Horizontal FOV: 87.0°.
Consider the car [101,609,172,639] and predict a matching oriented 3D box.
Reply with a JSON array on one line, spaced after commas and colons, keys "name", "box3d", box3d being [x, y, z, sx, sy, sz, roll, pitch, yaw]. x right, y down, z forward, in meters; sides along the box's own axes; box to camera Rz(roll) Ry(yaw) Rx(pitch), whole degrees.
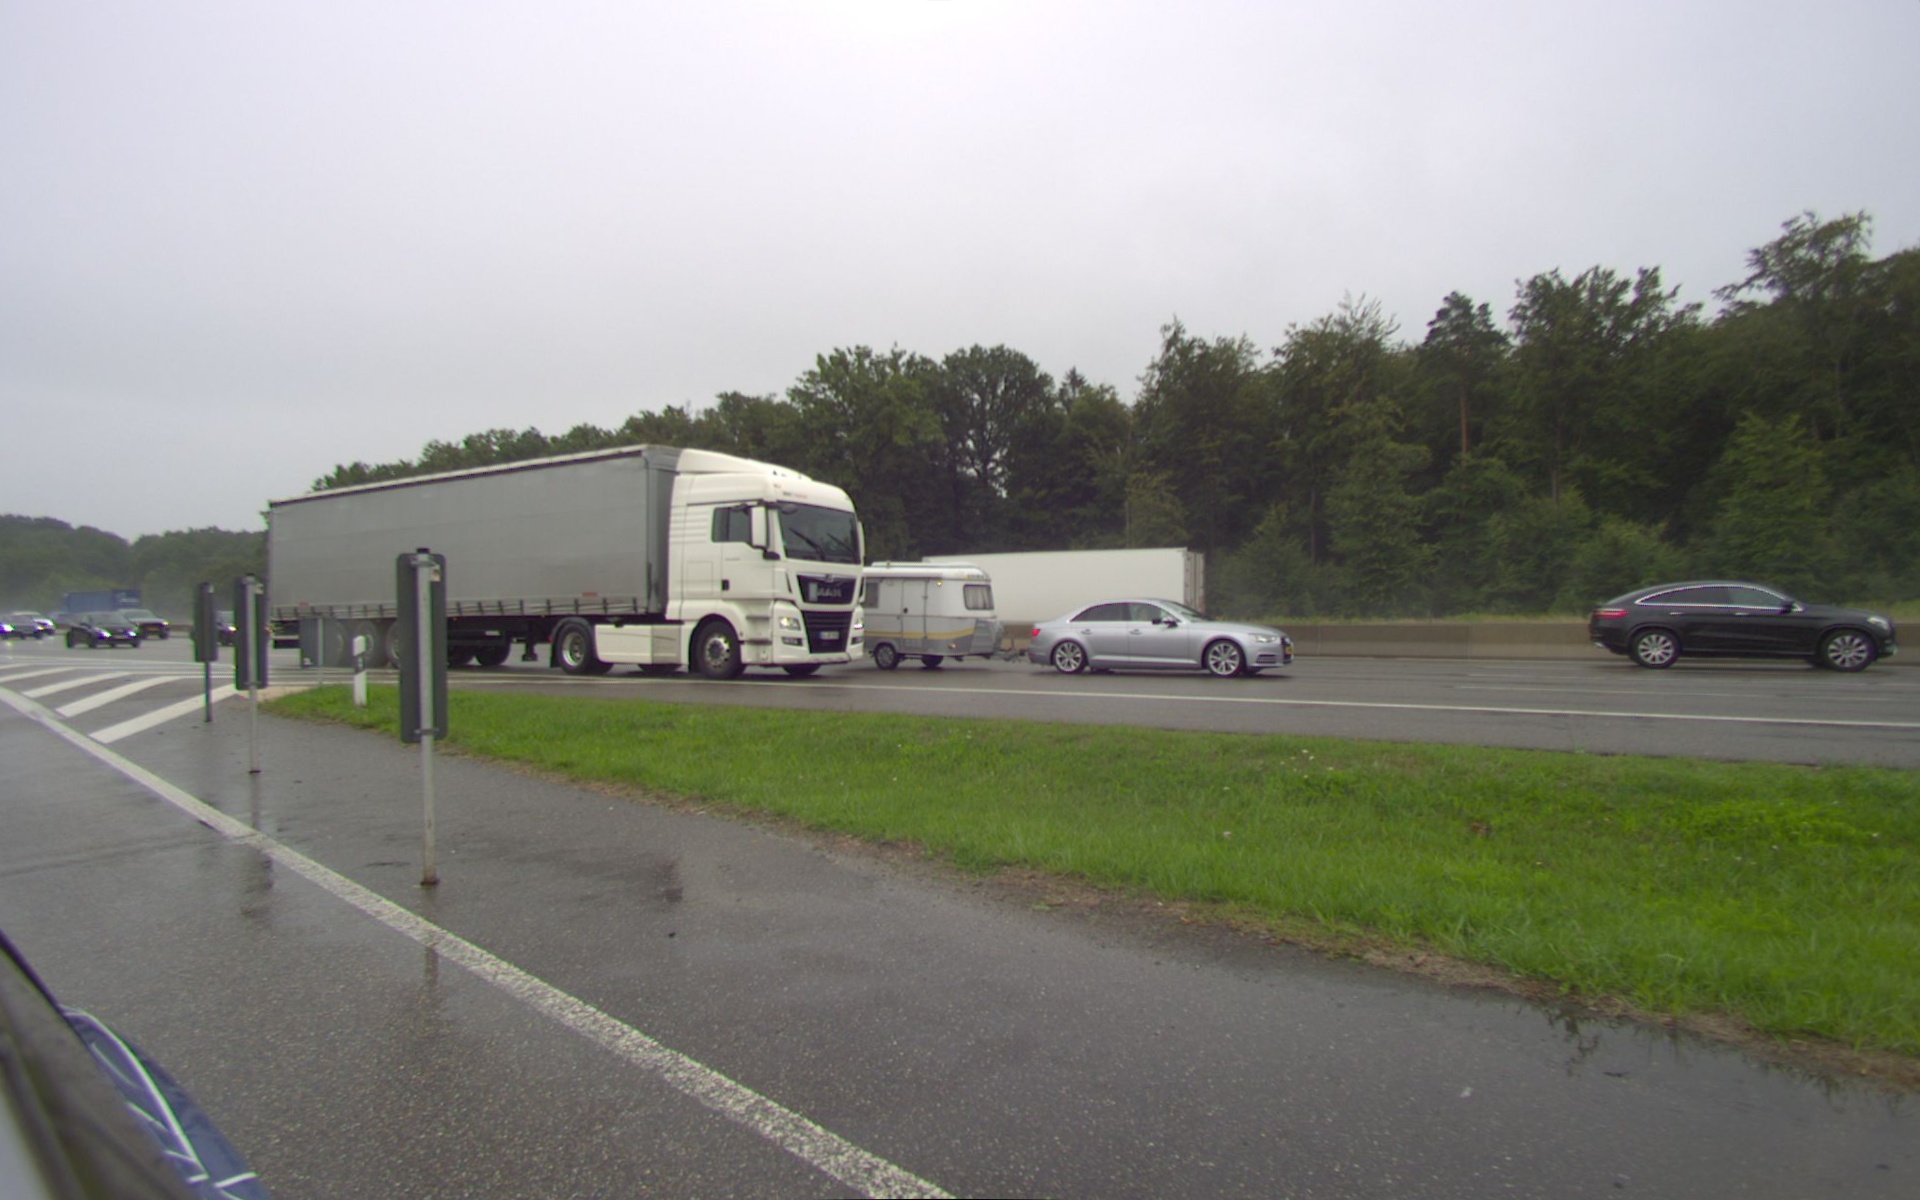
[{"name": "car", "box3d": [-48.081, 1.445, 59.073, 4.389, 1.681, 1.805, -1, -2, 31]}]

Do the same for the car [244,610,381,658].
[{"name": "car", "box3d": [-21.237, 1.093, 33.181, 4.482, 1.492, 1.868, -1, -1, 29]}]

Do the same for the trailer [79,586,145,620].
[{"name": "trailer", "box3d": [-92.944, 0.360, 110.826, 11.372, 3.443, 2.709, -1, 0, 35]}]

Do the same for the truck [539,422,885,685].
[{"name": "truck", "box3d": [-4.589, -0.636, 18.477, 5.914, 4.083, 2.850, -1, -2, 32]}]

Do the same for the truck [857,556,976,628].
[{"name": "truck", "box3d": [-2.246, -0.349, 51.646, 5.581, 3.478, 2.627, -1, -1, 31]}]

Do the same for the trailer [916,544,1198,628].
[{"name": "trailer", "box3d": [4.240, -0.478, 47.620, 13.438, 3.524, 2.629, -1, -1, 32]}]

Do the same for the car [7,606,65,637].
[{"name": "car", "box3d": [-63.957, 1.480, 70.049, 3.986, 2.029, 1.979, -2, -1, 31]}]

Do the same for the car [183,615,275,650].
[{"name": "car", "box3d": [-32.024, 1.439, 44.315, 4.109, 1.425, 1.805, -2, -2, 31]}]

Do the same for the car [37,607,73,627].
[{"name": "car", "box3d": [-94.575, 1.803, 105.743, 3.990, 2.029, 1.977, -1, -1, 34]}]

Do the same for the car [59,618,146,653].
[{"name": "car", "box3d": [-35.745, 1.456, 42.183, 3.990, 1.383, 1.803, -2, -2, 35]}]

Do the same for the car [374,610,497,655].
[{"name": "car", "box3d": [-18.681, 1.129, 35.976, 4.487, 1.492, 1.866, -1, -1, 32]}]

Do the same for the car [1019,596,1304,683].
[{"name": "car", "box3d": [3.484, 0.683, 17.781, 4.564, 1.358, 1.832, -1, -2, 31]}]

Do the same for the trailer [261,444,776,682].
[{"name": "trailer", "box3d": [-10.252, -0.458, 22.034, 14.071, 4.013, 2.873, -1, -2, 32]}]

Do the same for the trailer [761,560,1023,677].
[{"name": "trailer", "box3d": [-1.466, 0.420, 21.041, 5.160, 2.172, 2.114, -1, -2, 31]}]

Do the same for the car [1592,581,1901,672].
[{"name": "car", "box3d": [14.937, 0.522, 19.607, 4.509, 1.587, 1.692, -1, -2, 31]}]

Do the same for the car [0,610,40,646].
[{"name": "car", "box3d": [-56.192, 1.636, 59.862, 3.991, 2.029, 1.841, -1, -1, 35]}]
